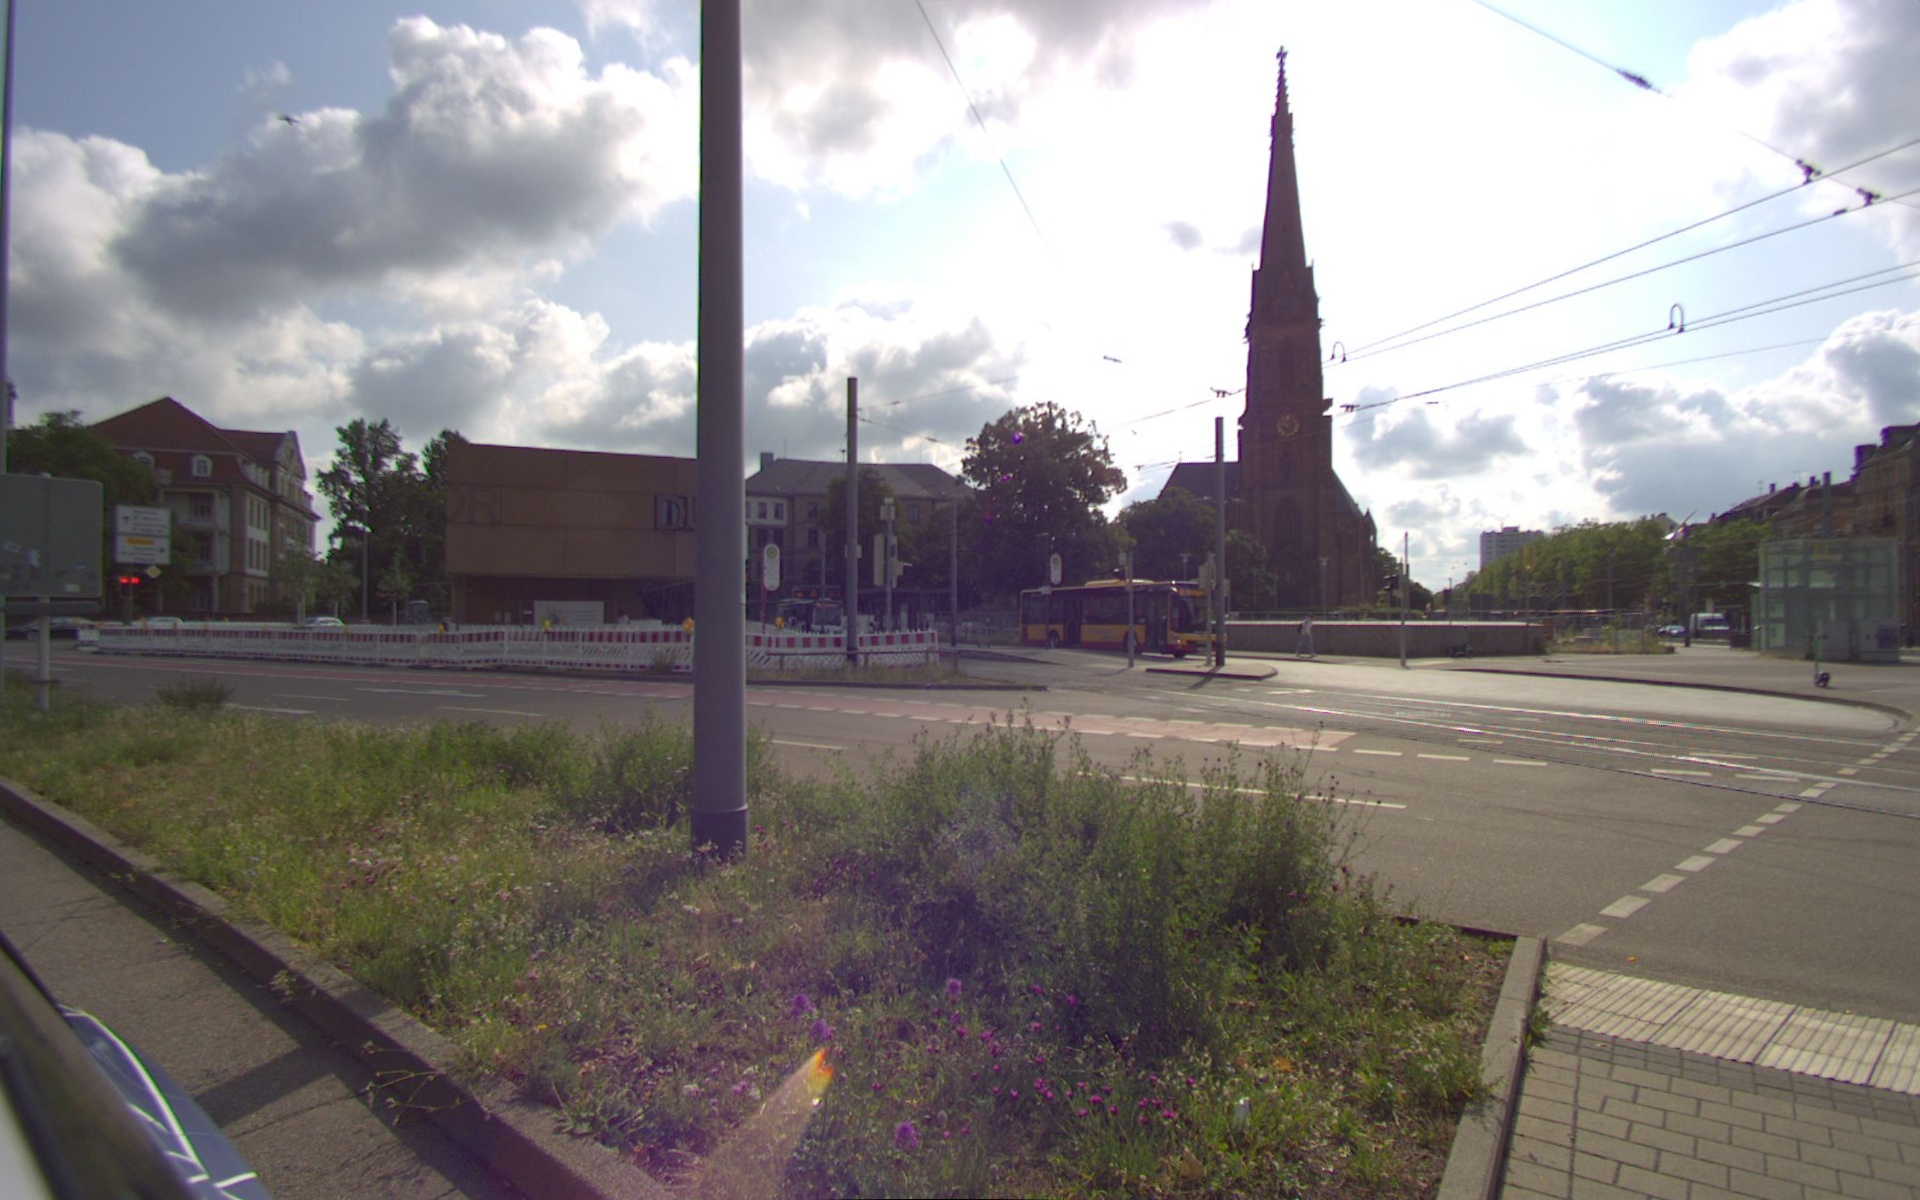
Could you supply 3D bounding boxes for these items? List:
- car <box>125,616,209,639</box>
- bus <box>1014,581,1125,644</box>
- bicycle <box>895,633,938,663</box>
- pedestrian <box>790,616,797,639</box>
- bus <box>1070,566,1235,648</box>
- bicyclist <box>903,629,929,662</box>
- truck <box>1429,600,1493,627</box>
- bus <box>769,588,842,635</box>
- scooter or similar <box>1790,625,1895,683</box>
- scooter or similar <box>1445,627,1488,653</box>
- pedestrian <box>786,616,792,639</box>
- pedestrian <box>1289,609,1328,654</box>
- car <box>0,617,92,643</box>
[{"bbox_3d":[-50.087,1.763,64.028,1.740,1.401,4.117,0,-2,10],"label":"car"},{"bbox_3d":[4.723,0.558,44.547,2.655,2.607,5.094,0,-1,-24],"label":"bus"},{"bbox_3d":[-1.584,1.741,36.537,0.798,1.000,2.076,-1,-3,-25],"label":"bicycle"},{"bbox_3d":[-11.697,1.917,71.165,0.352,1.614,0.365,1,-2,-30],"label":"pedestrian"},{"bbox_3d":[7.190,0.331,38.902,2.653,2.855,7.123,0,-1,-24],"label":"bus"},{"bbox_3d":[-1.599,1.640,36.568,0.685,1.161,0.741,-1,-3,-25],"label":"bicyclist"},{"bbox_3d":[67.488,1.850,136.402,7.396,3.676,2.454,-1,-1,21],"label":"truck"},{"bbox_3d":[-12.854,1.014,83.035,2.913,3.534,12.294,0,-1,-24],"label":"bus"},{"bbox_3d":[19.256,1.158,22.135,1.331,1.198,1.482,-1,-1,25],"label":"scooter or similar"},{"bbox_3d":[19.135,1.512,38.203,1.635,0.957,0.475,0,-1,-22],"label":"scooter or similar"},{"bbox_3d":[-11.964,1.916,70.802,0.352,1.614,0.365,1,-2,-30],"label":"pedestrian"},{"bbox_3d":[13.997,1.250,40.639,0.914,1.702,1.101,-4,3,-26],"label":"pedestrian"},{"bbox_3d":[-51.364,1.700,56.597,1.740,1.401,4.117,0,-2,10],"label":"car"}]
